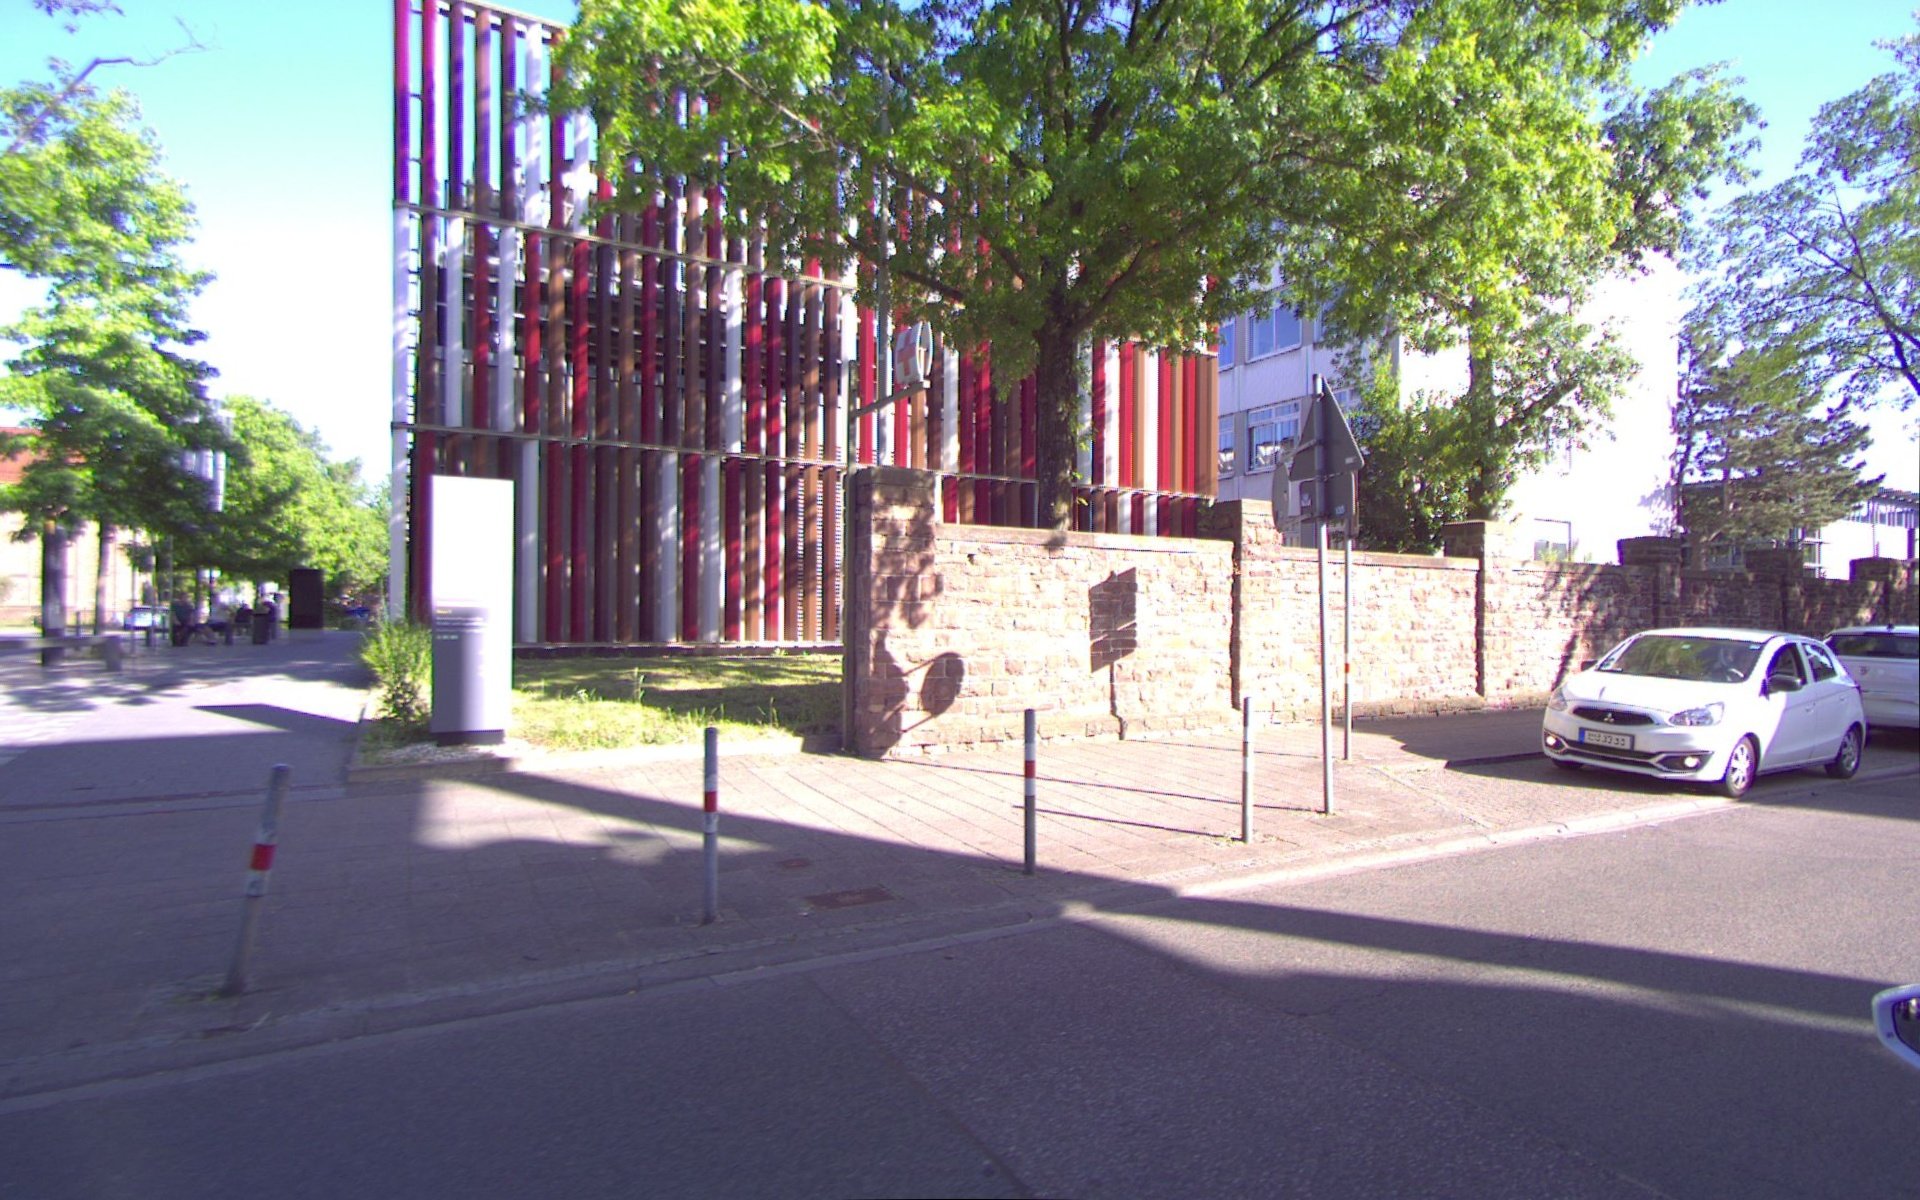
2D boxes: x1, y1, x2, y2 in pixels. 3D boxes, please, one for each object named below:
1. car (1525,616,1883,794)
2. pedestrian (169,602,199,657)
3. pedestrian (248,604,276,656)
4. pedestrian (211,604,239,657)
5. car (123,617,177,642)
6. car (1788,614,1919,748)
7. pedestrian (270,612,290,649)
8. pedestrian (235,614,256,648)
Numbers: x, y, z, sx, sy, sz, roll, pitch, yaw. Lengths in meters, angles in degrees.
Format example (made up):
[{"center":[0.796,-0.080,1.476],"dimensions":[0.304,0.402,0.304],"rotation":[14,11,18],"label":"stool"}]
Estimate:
[{"center":[7.567,0.922,10.161],"dimensions":[3.707,1.421,1.566],"rotation":[0,2,-31],"label":"car"},{"center":[-20.282,0.764,26.257],"dimensions":[0.604,1.398,0.566],"rotation":[0,1,-36],"label":"pedestrian"},{"center":[-18.900,0.806,27.205],"dimensions":[0.604,1.371,0.566],"rotation":[0,1,-36],"label":"pedestrian"},{"center":[-19.616,0.803,26.817],"dimensions":[0.604,1.371,0.566],"rotation":[0,1,-36],"label":"pedestrian"},{"center":[-46.220,1.663,57.349],"dimensions":[1.714,1.341,3.051],"rotation":[0,0,-26],"label":"car"},{"center":[12.891,0.994,13.305],"dimensions":[3.803,1.532,1.669],"rotation":[0,2,-29],"label":"car"},{"center":[-25.127,1.105,37.107],"dimensions":[0.604,1.336,0.566],"rotation":[0,1,-34],"label":"pedestrian"},{"center":[-26.035,1.123,36.614],"dimensions":[0.604,1.192,0.566],"rotation":[0,0,-34],"label":"pedestrian"}]
